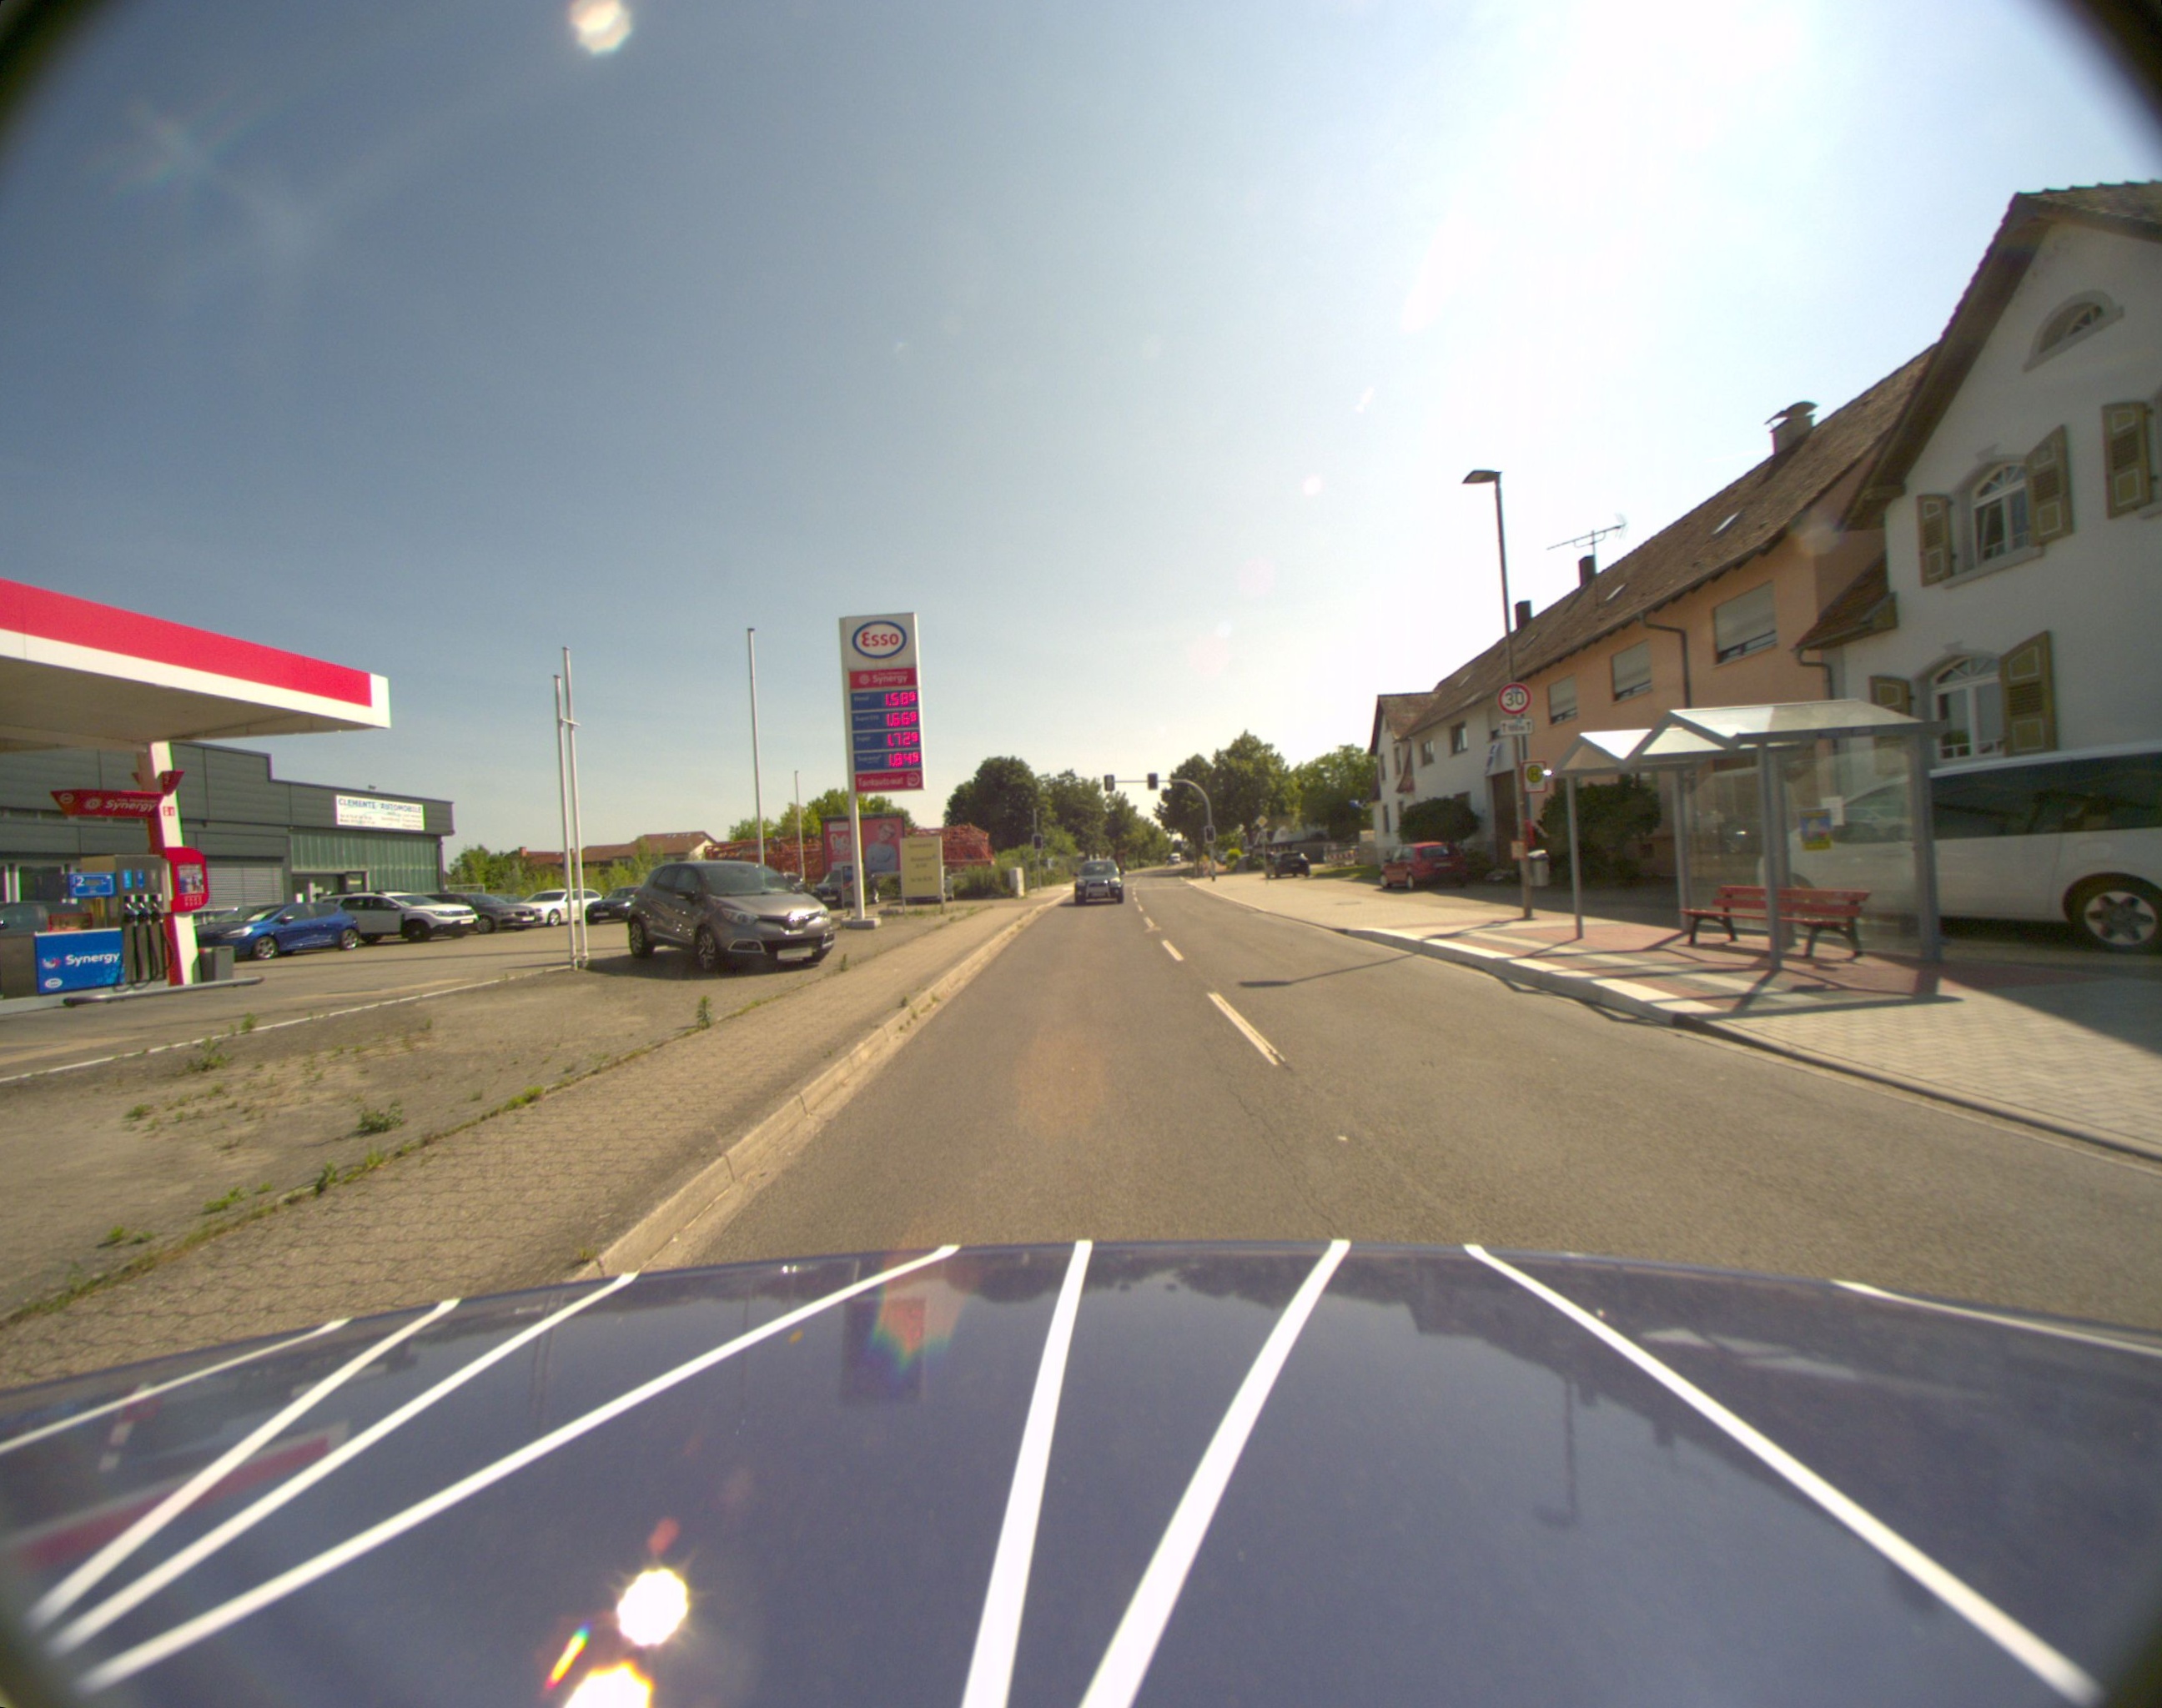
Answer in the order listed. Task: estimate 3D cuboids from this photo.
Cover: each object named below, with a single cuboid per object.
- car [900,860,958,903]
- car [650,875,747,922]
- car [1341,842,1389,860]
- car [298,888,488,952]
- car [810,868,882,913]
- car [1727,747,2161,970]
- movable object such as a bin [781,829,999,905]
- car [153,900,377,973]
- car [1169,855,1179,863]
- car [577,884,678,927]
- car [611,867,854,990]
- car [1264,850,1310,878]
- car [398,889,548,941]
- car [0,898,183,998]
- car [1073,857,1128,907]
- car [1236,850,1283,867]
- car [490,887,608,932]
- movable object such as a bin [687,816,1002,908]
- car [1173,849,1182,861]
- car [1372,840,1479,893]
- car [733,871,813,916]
[{"bbox_3d":[-6.549,1.188,33.133,1.809,1.676,4.369,-2,-1,-3],"label":"car"},{"bbox_3d":[-15.603,1.767,31.282,2.004,1.583,4.336,-3,0,-5],"label":"car"},{"bbox_3d":[27.749,-0.312,74.347,3.996,1.496,2.001,-3,0,3],"label":"car"},{"bbox_3d":[-21.490,2.027,23.868,4.152,1.624,1.811,-3,0,-3],"label":"car"},{"bbox_3d":[-9.670,1.452,31.590,1.975,1.583,3.998,-3,0,-5],"label":"car"},{"bbox_3d":[10.651,-0.041,8.600,2.131,1.975,5.265,-4,0,1],"label":"car"},{"bbox_3d":[-12.288,0.858,49.615,13.286,4.141,2.863,-3,0,1],"label":"movable object such as a bin"},{"bbox_3d":[-21.525,2.113,20.330,1.798,1.423,4.124,-3,0,-8],"label":"car"},{"bbox_3d":[19.673,1.050,160.779,1.845,1.583,4.108,-3,0,8],"label":"car"},{"bbox_3d":[-18.231,2.026,30.760,1.846,1.378,3.998,-3,0,-5],"label":"car"},{"bbox_3d":[-5.484,0.989,11.740,4.170,1.546,1.778,-1,0,40],"label":"car"},{"bbox_3d":[11.515,0.518,42.776,1.718,1.399,4.399,-2,1,5],"label":"car"},{"bbox_3d":[-21.224,2.103,26.654,3.688,1.465,1.811,-3,0,-3],"label":"car"},{"bbox_3d":[-20.657,1.831,14.458,1.810,1.730,4.816,-4,-1,-9],"label":"car"},{"bbox_3d":[0.834,1.049,29.418,1.848,1.686,4.400,-4,-1,4],"label":"car"},{"bbox_3d":[17.592,0.436,75.061,3.989,1.496,2.004,-3,0,36],"label":"car"},{"bbox_3d":[-21.229,2.161,30.582,1.846,1.378,4.374,-3,0,-5],"label":"car"},{"bbox_3d":[-12.583,0.431,41.357,16.092,3.995,2.774,-3,0,1],"label":"movable object such as a bin"},{"bbox_3d":[22.253,0.205,174.838,1.937,2.488,5.841,-3,0,8],"label":"car"},{"bbox_3d":[11.002,0.414,24.580,1.718,1.444,3.916,-5,-1,3],"label":"car"},{"bbox_3d":[-12.700,1.569,31.618,1.846,1.583,4.104,-3,0,-5],"label":"car"}]
